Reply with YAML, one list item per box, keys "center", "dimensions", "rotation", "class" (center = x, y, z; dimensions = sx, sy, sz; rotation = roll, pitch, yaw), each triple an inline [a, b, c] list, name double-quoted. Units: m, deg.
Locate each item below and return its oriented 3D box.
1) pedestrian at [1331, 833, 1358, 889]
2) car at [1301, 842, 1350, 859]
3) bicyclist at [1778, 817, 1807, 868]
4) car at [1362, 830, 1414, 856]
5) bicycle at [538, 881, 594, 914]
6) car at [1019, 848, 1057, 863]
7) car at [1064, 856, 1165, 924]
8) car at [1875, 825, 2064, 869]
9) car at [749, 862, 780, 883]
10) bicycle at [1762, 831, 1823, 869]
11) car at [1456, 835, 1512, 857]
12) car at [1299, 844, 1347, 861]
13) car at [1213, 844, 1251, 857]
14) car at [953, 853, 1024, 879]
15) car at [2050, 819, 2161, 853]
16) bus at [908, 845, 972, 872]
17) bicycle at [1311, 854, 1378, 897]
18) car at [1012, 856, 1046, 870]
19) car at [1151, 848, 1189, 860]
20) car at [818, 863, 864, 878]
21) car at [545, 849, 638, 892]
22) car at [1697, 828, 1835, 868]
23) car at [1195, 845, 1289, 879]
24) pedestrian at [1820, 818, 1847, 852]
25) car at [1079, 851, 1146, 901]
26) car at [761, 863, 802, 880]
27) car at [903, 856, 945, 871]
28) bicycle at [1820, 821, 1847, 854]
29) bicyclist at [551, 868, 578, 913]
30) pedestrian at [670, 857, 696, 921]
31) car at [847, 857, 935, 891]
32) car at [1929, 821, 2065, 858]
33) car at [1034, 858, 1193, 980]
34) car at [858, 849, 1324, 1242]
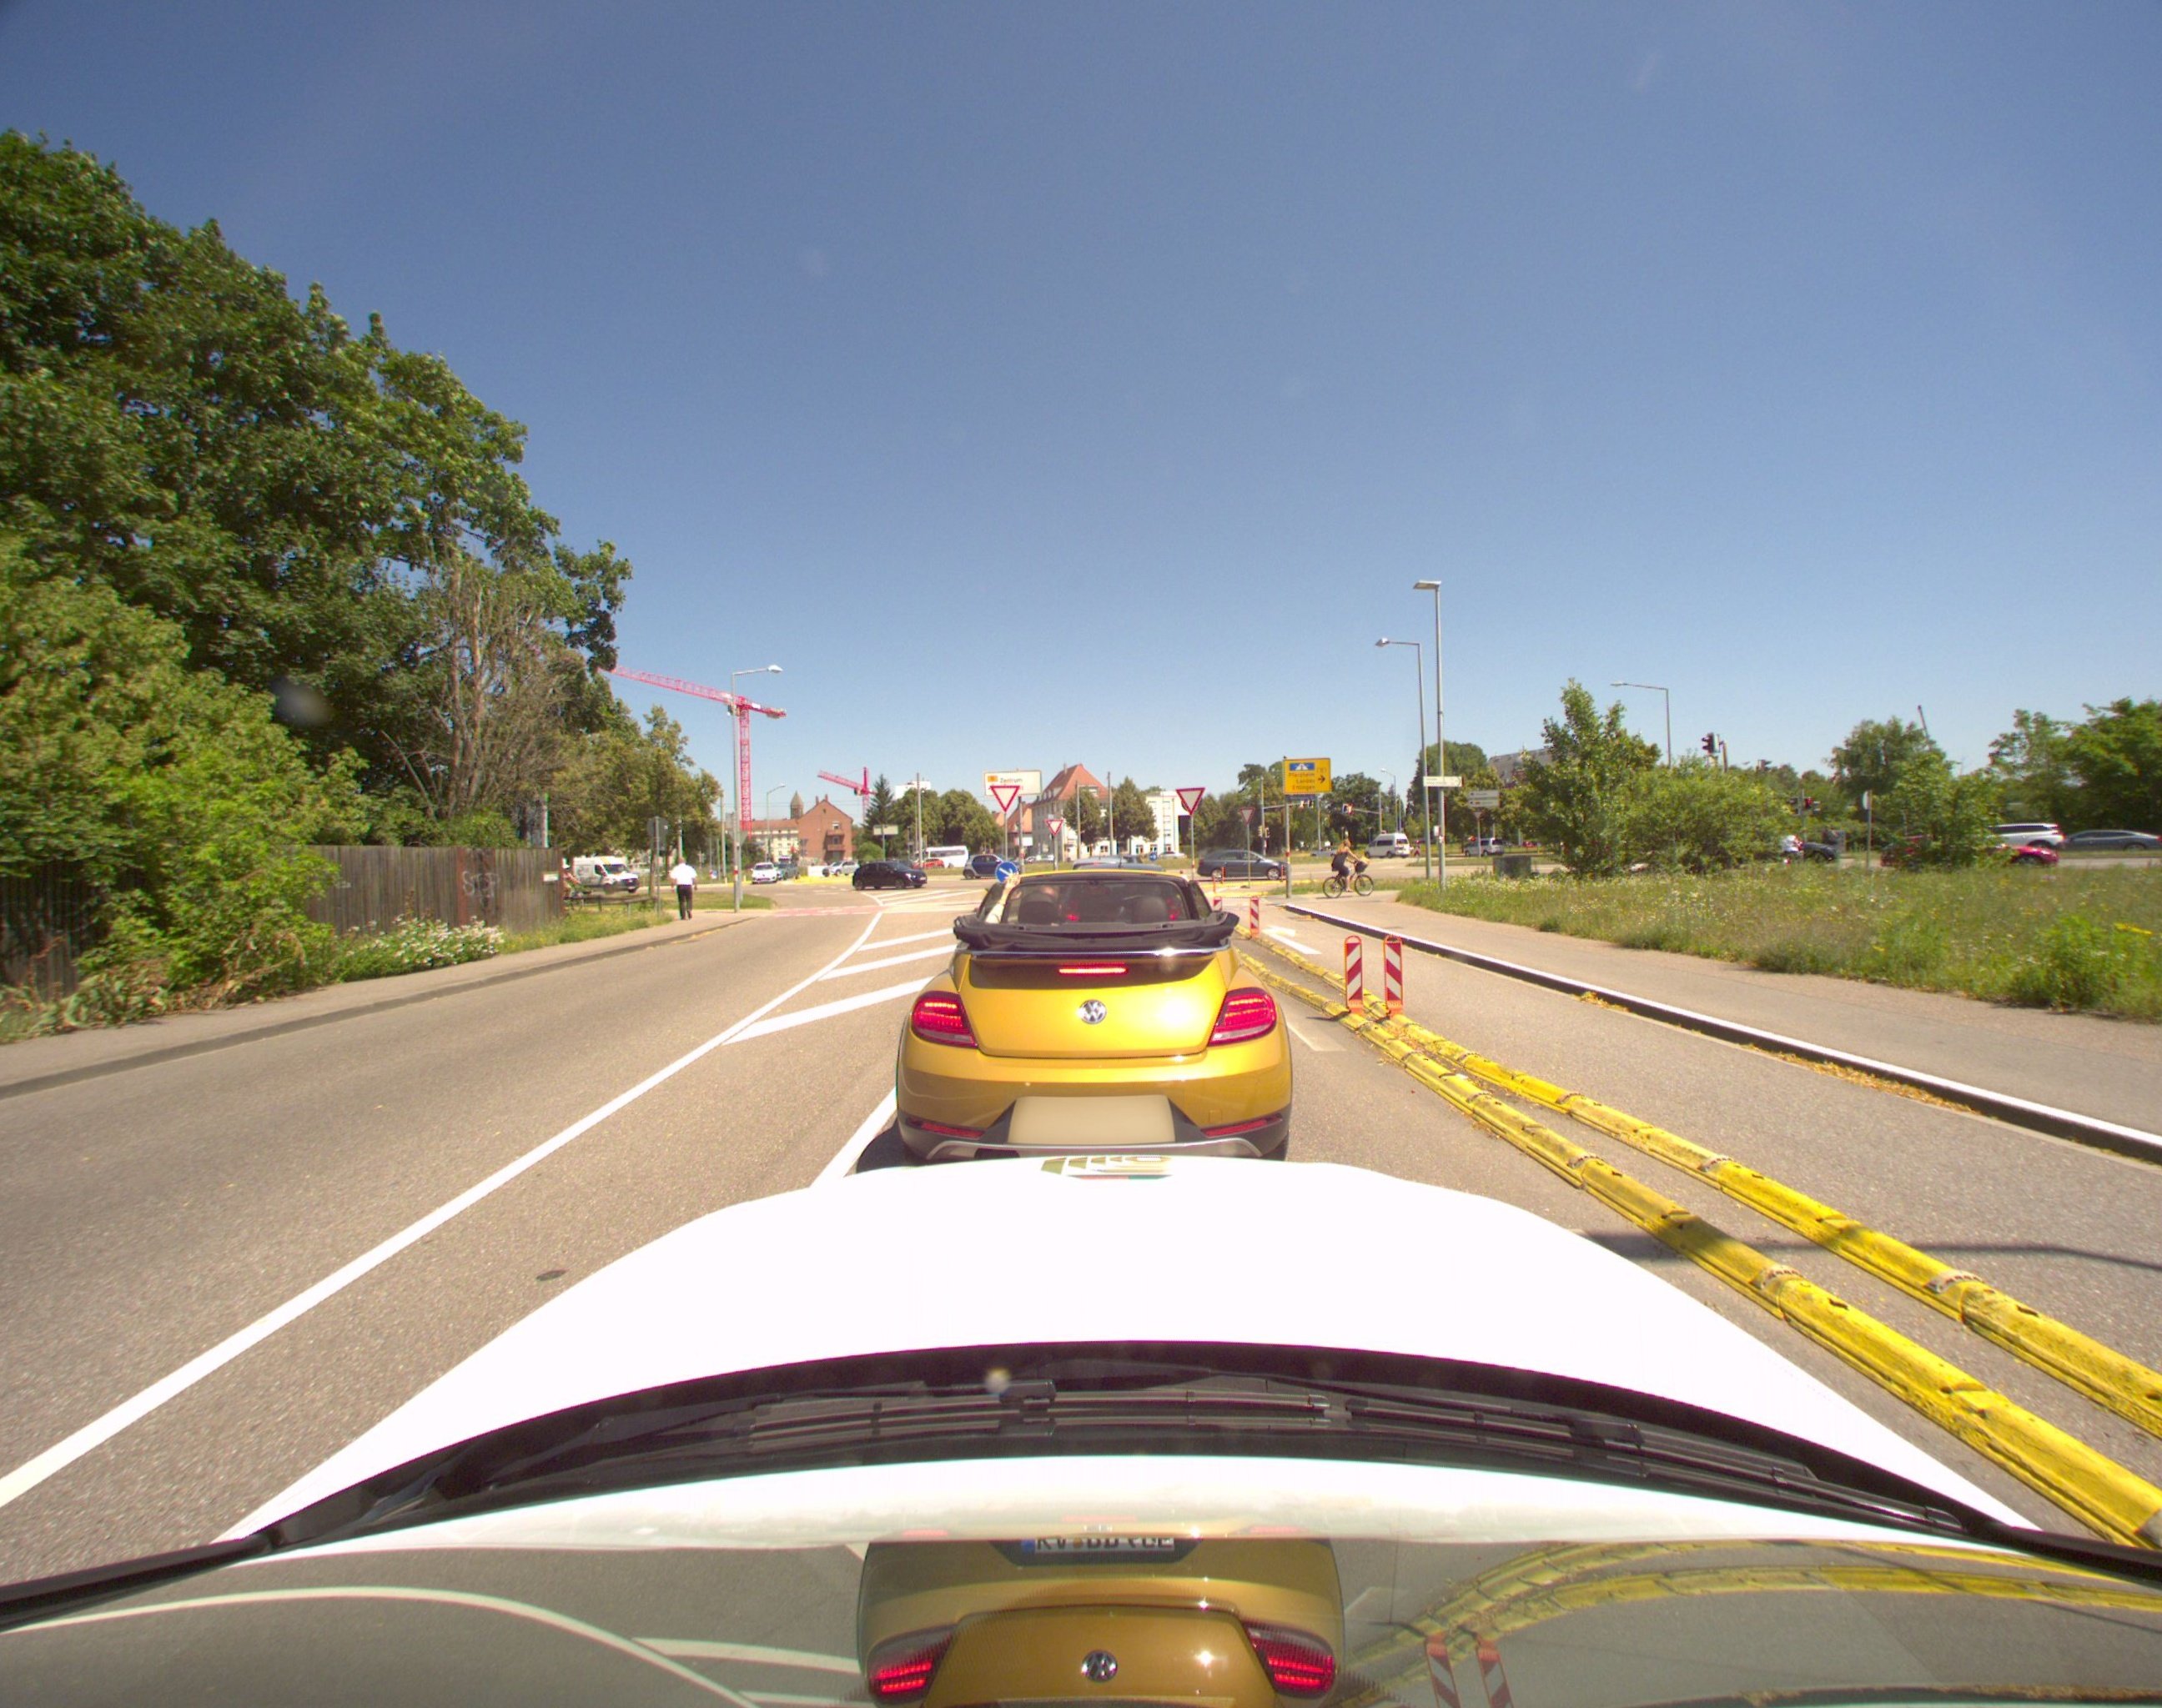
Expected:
- center: [8.069, 0.214, 24.962]
  dimensions: [0.728, 1.691, 0.577]
  rotation: [-1, -1, 11]
  class: "pedestrian"
- center: [29.758, -0.399, 99.212]
  dimensions: [5.259, 1.962, 2.007]
  rotation: [-1, -1, 37]
  class: "car"
- center: [25.764, -0.404, 29.497]
  dimensions: [0.573, 1.841, 0.603]
  rotation: [0, -1, -29]
  class: "bicyclist"
- center: [30.328, -1.047, 80.526]
  dimensions: [1.992, 2.397, 5.297]
  rotation: [0, -1, -17]
  class: "car"
- center: [-20.335, 1.711, 32.153]
  dimensions: [2.075, 1.221, 0.636]
  rotation: [-2, 0, 17]
  class: "bicycle"
- center: [-5.328, 0.191, 100.298]
  dimensions: [4.433, 1.736, 1.841]
  rotation: [0, -1, -12]
  class: "car"
- center: [0.749, 0.746, 18.728]
  dimensions: [2.057, 1.382, 4.259]
  rotation: [0, -1, 2]
  class: "car"
- center: [32.464, -0.208, 29.977]
  dimensions: [4.362, 1.527, 2.013]
  rotation: [-1, -1, 36]
  class: "car"
- center: [-23.976, 1.386, 61.618]
  dimensions: [1.786, 1.527, 3.837]
  rotation: [-2, 0, -28]
  class: "car"
- center: [25.878, -0.146, 29.603]
  dimensions: [2.902, 1.353, 0.635]
  rotation: [0, -1, -28]
  class: "bicycle"
- center: [39.351, -0.737, 79.653]
  dimensions: [1.990, 2.070, 5.303]
  rotation: [0, -1, -13]
  class: "car"
- center: [29.578, -0.132, 99.637]
  dimensions: [2.005, 1.962, 5.264]
  rotation: [0, -1, -42]
  class: "car"
- center: [18.863, -0.403, 101.494]
  dimensions: [4.276, 1.614, 1.893]
  rotation: [-1, -1, 28]
  class: "car"
- center: [-5.650, 0.738, 49.854]
  dimensions: [3.957, 1.552, 1.735]
  rotation: [-1, -1, 15]
  class: "car"
- center: [51.654, -0.849, 40.401]
  dimensions: [4.389, 1.592, 1.860]
  rotation: [-1, -1, 43]
  class: "car"
- center: [-16.989, 0.485, 98.203]
  dimensions: [7.300, 3.172, 2.239]
  rotation: [0, -1, -31]
  class: "bus"
- center: [8.056, 0.649, 24.965]
  dimensions: [1.830, 1.231, 0.615]
  rotation: [-3, -1, 12]
  class: "bicycle"
- center: [-6.676, 1.171, 103.760]
  dimensions: [4.004, 1.772, 1.773]
  rotation: [0, -1, -23]
  class: "car"
- center: [10.998, 0.019, 100.578]
  dimensions: [4.282, 1.371, 1.760]
  rotation: [-1, -1, 18]
  class: "car"
- center: [-23.310, 1.560, 79.177]
  dimensions: [1.711, 1.402, 4.297]
  rotation: [-1, -1, 29]
  class: "car"
- center: [-33.569, 1.092, 55.824]
  dimensions: [6.799, 2.828, 2.011]
  rotation: [-1, -1, 25]
  class: "car"
- center: [30.125, -0.262, 35.995]
  dimensions: [4.362, 1.595, 2.013]
  rotation: [-2, 0, 31]
  class: "car"
- center: [7.650, 0.404, 38.871]
  dimensions: [4.302, 1.552, 1.733]
  rotation: [0, -1, 10]
  class: "car"
- center: [37.908, -0.933, 41.034]
  dimensions: [0.959, 1.660, 0.892]
  rotation: [-1, -1, 44]
  class: "pedestrian"
- center: [1.054, 0.675, 27.776]
  dimensions: [2.057, 1.481, 4.545]
  rotation: [-2, 0, 2]
  class: "car"
- center: [-25.222, 1.487, 68.749]
  dimensions: [1.740, 1.371, 4.332]
  rotation: [0, -1, 1]
  class: "car"
- center: [-17.993, 1.065, 93.288]
  dimensions: [4.456, 1.736, 1.831]
  rotation: [0, -1, -29]
  class: "car"
- center: [38.007, -0.805, 41.143]
  dimensions: [0.972, 1.597, 2.900]
  rotation: [-1, -1, 43]
  class: "bicycle"
- center: [-20.394, 1.441, 32.158]
  dimensions: [0.664, 1.753, 0.595]
  rotation: [-3, -1, 20]
  class: "bicyclist"
- center: [-11.515, 0.997, 23.566]
  dimensions: [0.639, 1.786, 0.960]
  rotation: [0, -1, -29]
  class: "pedestrian"
- center: [-9.794, 1.027, 42.034]
  dimensions: [3.956, 1.551, 1.736]
  rotation: [-2, 2, 17]
  class: "car"
- center: [46.172, -0.700, 41.221]
  dimensions: [4.389, 1.736, 1.860]
  rotation: [-1, -1, 43]
  class: "car"
- center: [0.455, 0.783, 11.804]
  dimensions: [1.844, 1.366, 4.260]
  rotation: [-2, 0, 2]
  class: "car"
- center: [0.100, 0.744, 5.216]
  dimensions: [1.758, 1.481, 4.259]
  rotation: [0, -1, 2]
  class: "car"
